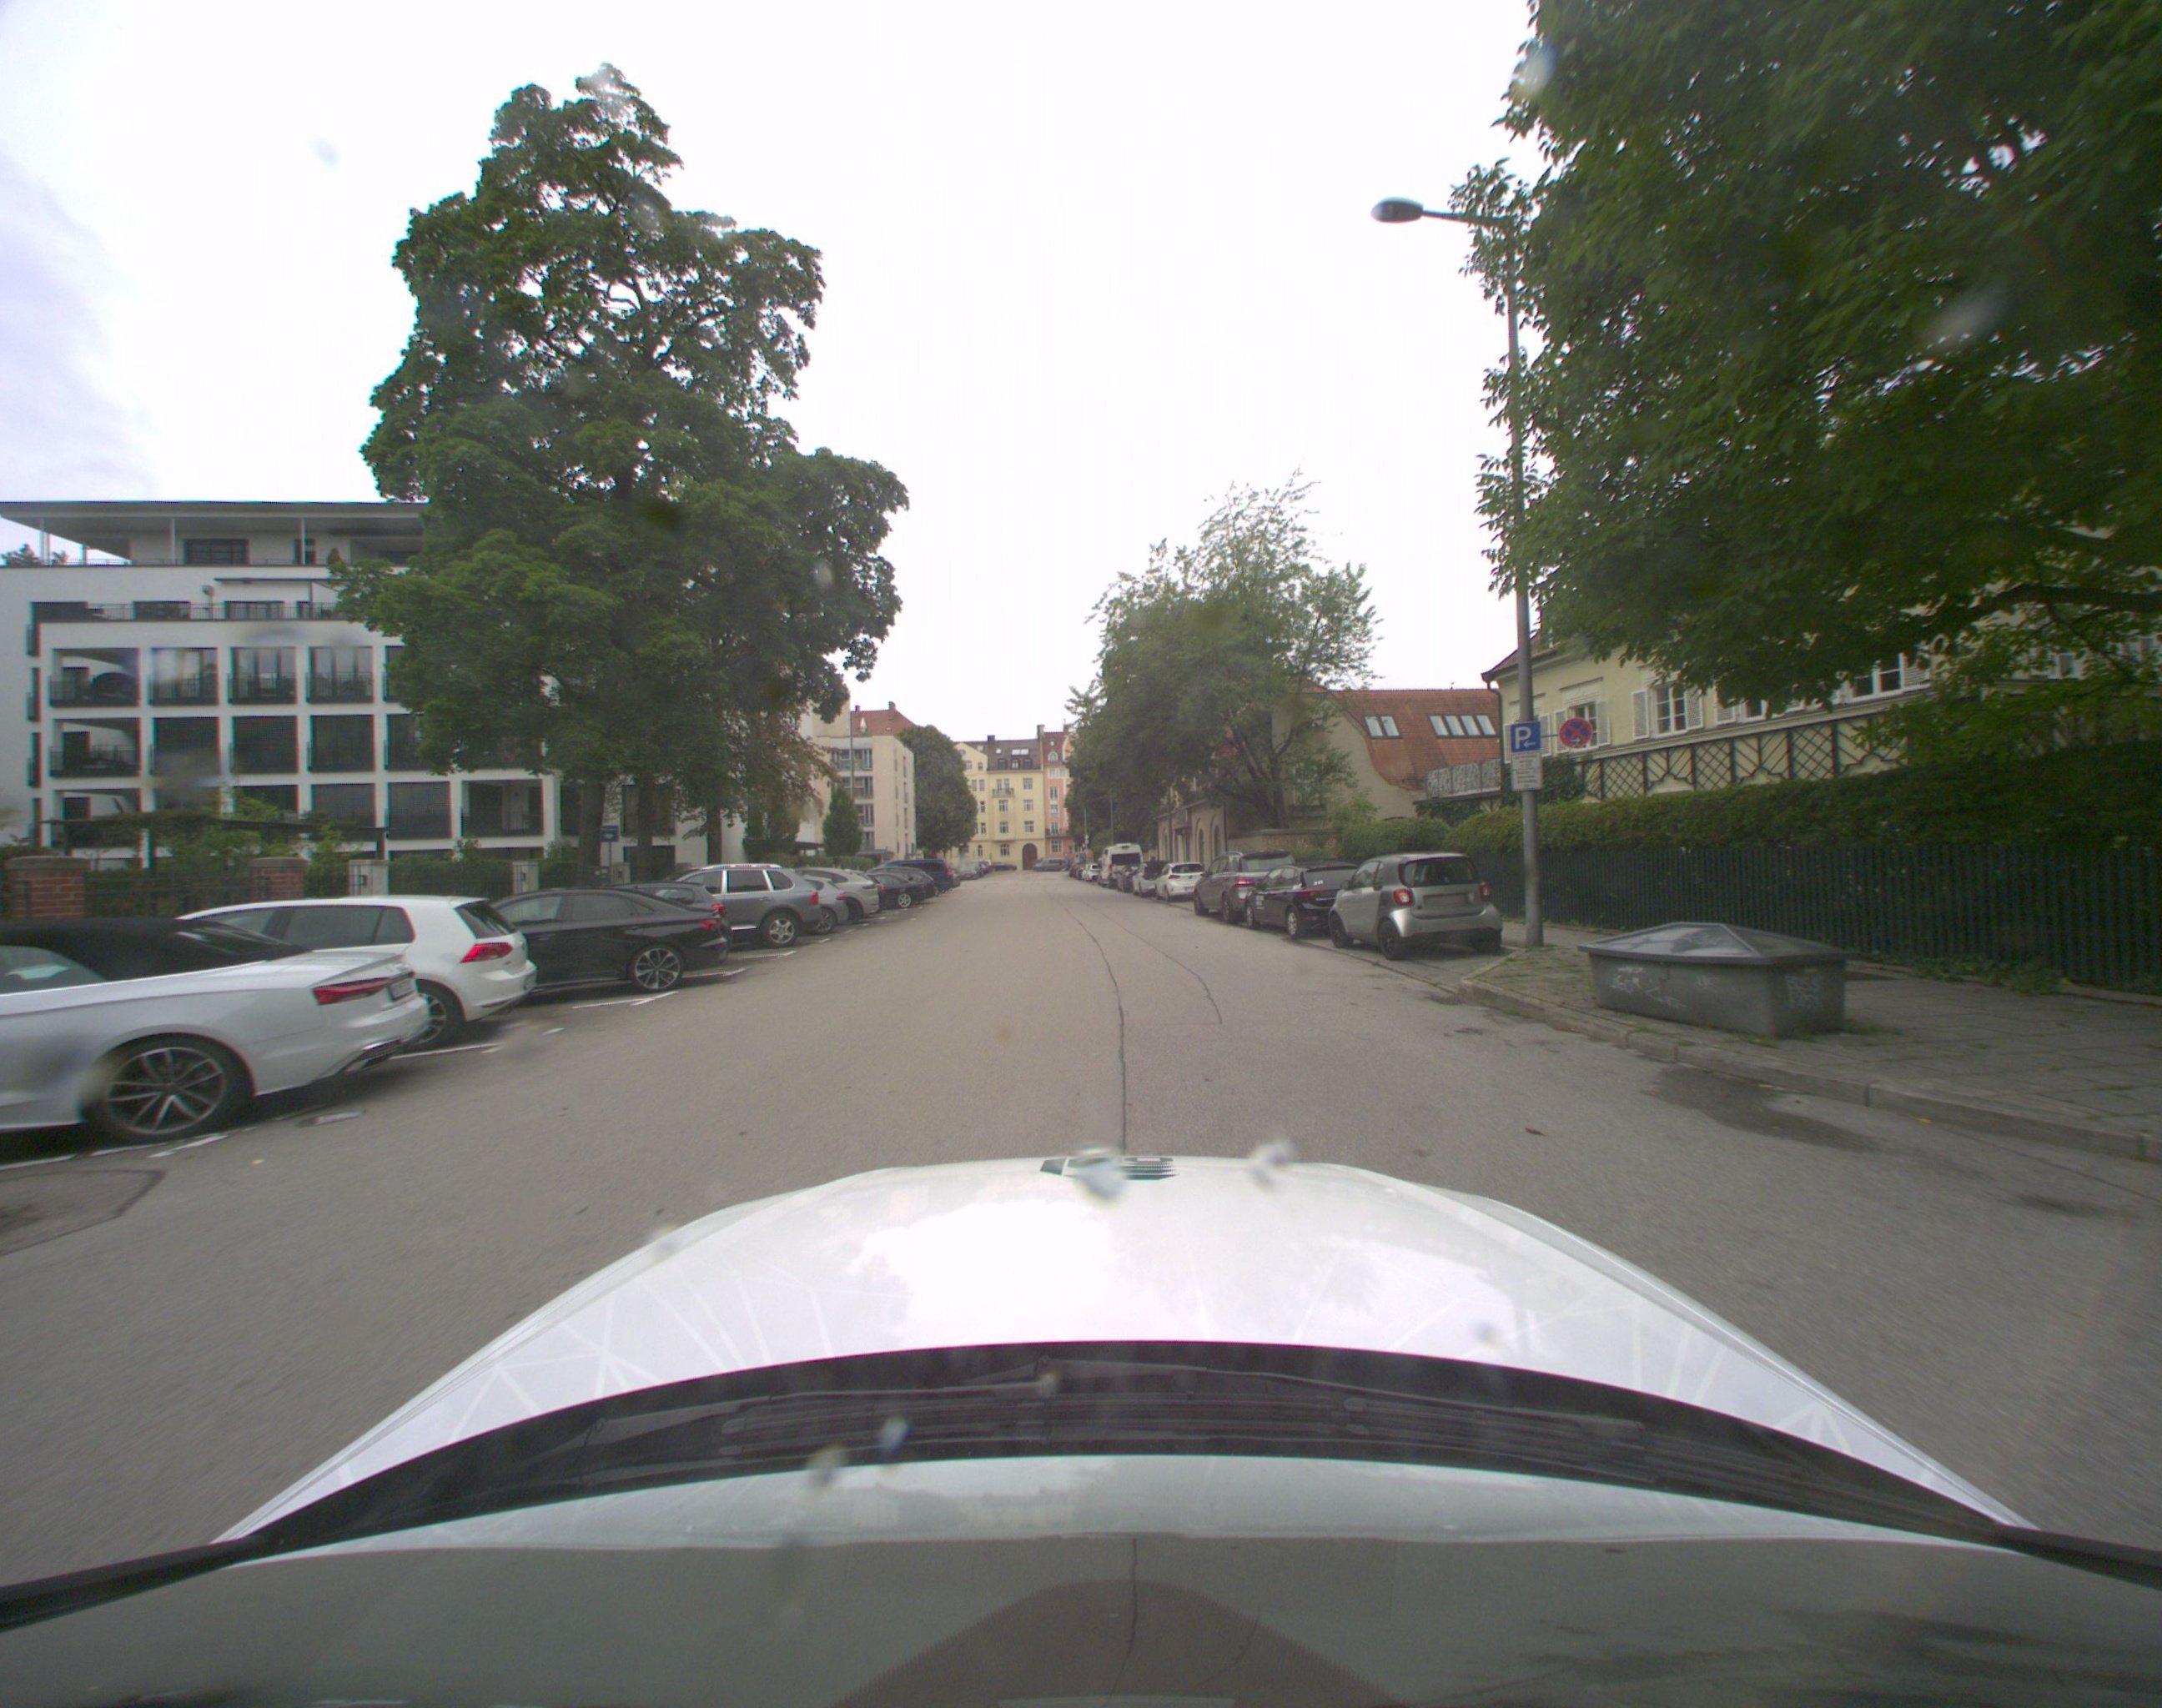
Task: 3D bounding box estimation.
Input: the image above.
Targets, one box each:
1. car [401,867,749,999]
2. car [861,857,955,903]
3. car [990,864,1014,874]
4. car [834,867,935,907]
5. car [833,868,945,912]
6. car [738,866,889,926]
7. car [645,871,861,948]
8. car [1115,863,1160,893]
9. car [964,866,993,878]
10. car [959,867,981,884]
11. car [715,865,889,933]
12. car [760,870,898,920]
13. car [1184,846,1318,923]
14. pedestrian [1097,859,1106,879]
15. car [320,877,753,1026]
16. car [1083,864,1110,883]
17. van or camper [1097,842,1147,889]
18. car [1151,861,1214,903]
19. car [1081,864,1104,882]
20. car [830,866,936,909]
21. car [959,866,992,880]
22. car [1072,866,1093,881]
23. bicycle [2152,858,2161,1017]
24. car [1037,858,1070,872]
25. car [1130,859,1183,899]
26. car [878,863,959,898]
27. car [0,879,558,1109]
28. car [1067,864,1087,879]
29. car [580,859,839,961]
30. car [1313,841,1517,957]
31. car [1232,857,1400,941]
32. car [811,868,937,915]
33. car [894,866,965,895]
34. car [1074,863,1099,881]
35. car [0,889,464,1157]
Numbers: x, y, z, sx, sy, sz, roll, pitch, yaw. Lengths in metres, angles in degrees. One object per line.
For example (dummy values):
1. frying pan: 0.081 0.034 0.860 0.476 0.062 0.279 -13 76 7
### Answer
1. car: -7.909 1.120 13.055 4.432 1.630 1.944 -1 -1 -36
2. car: -8.714 1.299 41.185 4.234 2.066 1.719 -3 -1 -33
3. car: -13.370 2.587 138.552 3.978 1.586 1.701 -2 -1 -3
4. car: -9.224 1.528 38.348 4.234 1.609 1.719 -3 -1 -33
5. car: -7.925 1.455 33.623 4.225 1.461 1.723 -3 -1 -25
6. car: -8.367 1.274 25.548 4.228 1.599 1.869 -2 -1 -28
7. car: -7.804 1.250 19.512 4.431 1.491 1.995 -1 -1 -36
8. car: 2.887 1.208 42.131 1.704 1.369 4.435 -3 -1 -3
9. car: -14.778 2.595 117.865 3.980 1.508 1.837 -5 -1 -5
10. car: -11.415 2.179 83.964 1.830 1.508 3.995 -5 -1 -3
11. car: -7.837 1.210 22.891 4.420 1.621 2.069 -2 -1 -25
12. car: -8.609 1.369 27.898 4.228 1.461 1.777 -2 -1 -28
13. car: 4.338 0.752 21.691 1.991 1.711 4.873 -3 -1 -6
14. pedestrian: 2.067 1.502 82.376 0.771 2.014 0.562 -1 -1 -4
15. car: -6.959 1.130 10.897 4.430 1.439 1.944 -2 -1 -35
16. car: 1.243 1.589 67.264 1.704 1.408 4.123 -3 -1 -5
17. van or camper: 2.401 0.704 48.980 2.188 2.550 5.719 -3 -1 -4
18. car: 3.823 1.042 31.253 1.681 1.441 3.995 -3 -1 -3
19. car: 0.983 1.697 72.191 1.703 1.466 3.833 -3 -1 -3
20. car: -8.771 1.462 36.142 4.230 1.609 1.721 -3 -1 -29
21. car: -13.713 2.458 105.966 3.980 1.508 1.837 -5 -1 -5
22. car: 0.134 1.932 81.872 1.668 1.344 3.829 -3 1 -6
23. bicycle: 8.316 0.591 5.004 0.804 1.162 1.970 -2 0 -4
24. car: -3.932 1.623 116.737 4.697 1.881 1.836 -1 -1 -6
25. car: 3.292 1.082 36.361 1.703 1.537 4.235 -4 -1 -3
26. car: -9.216 1.504 46.296 4.136 1.708 1.719 -3 -1 -34
27. car: -7.766 1.171 7.690 4.529 1.509 1.914 -4 0 -28
28. car: -0.421 1.841 86.758 1.668 1.344 3.829 -3 1 -6
29. car: -7.477 1.036 16.549 4.432 1.699 2.113 -1 -1 -36
30. car: 5.149 0.669 12.957 1.737 1.536 2.939 -3 -1 -6
31. car: 4.715 0.846 17.067 1.875 1.427 4.212 -3 -1 -6
32. car: -7.808 1.379 30.849 4.235 1.461 1.719 -3 -1 -34
33. car: -9.736 1.675 52.483 4.138 1.609 1.718 -3 -1 -36
34. car: 0.526 1.708 76.453 1.802 1.466 3.828 -3 1 -7
35. car: -7.097 1.079 5.378 4.528 1.451 1.879 -2 -1 -28
